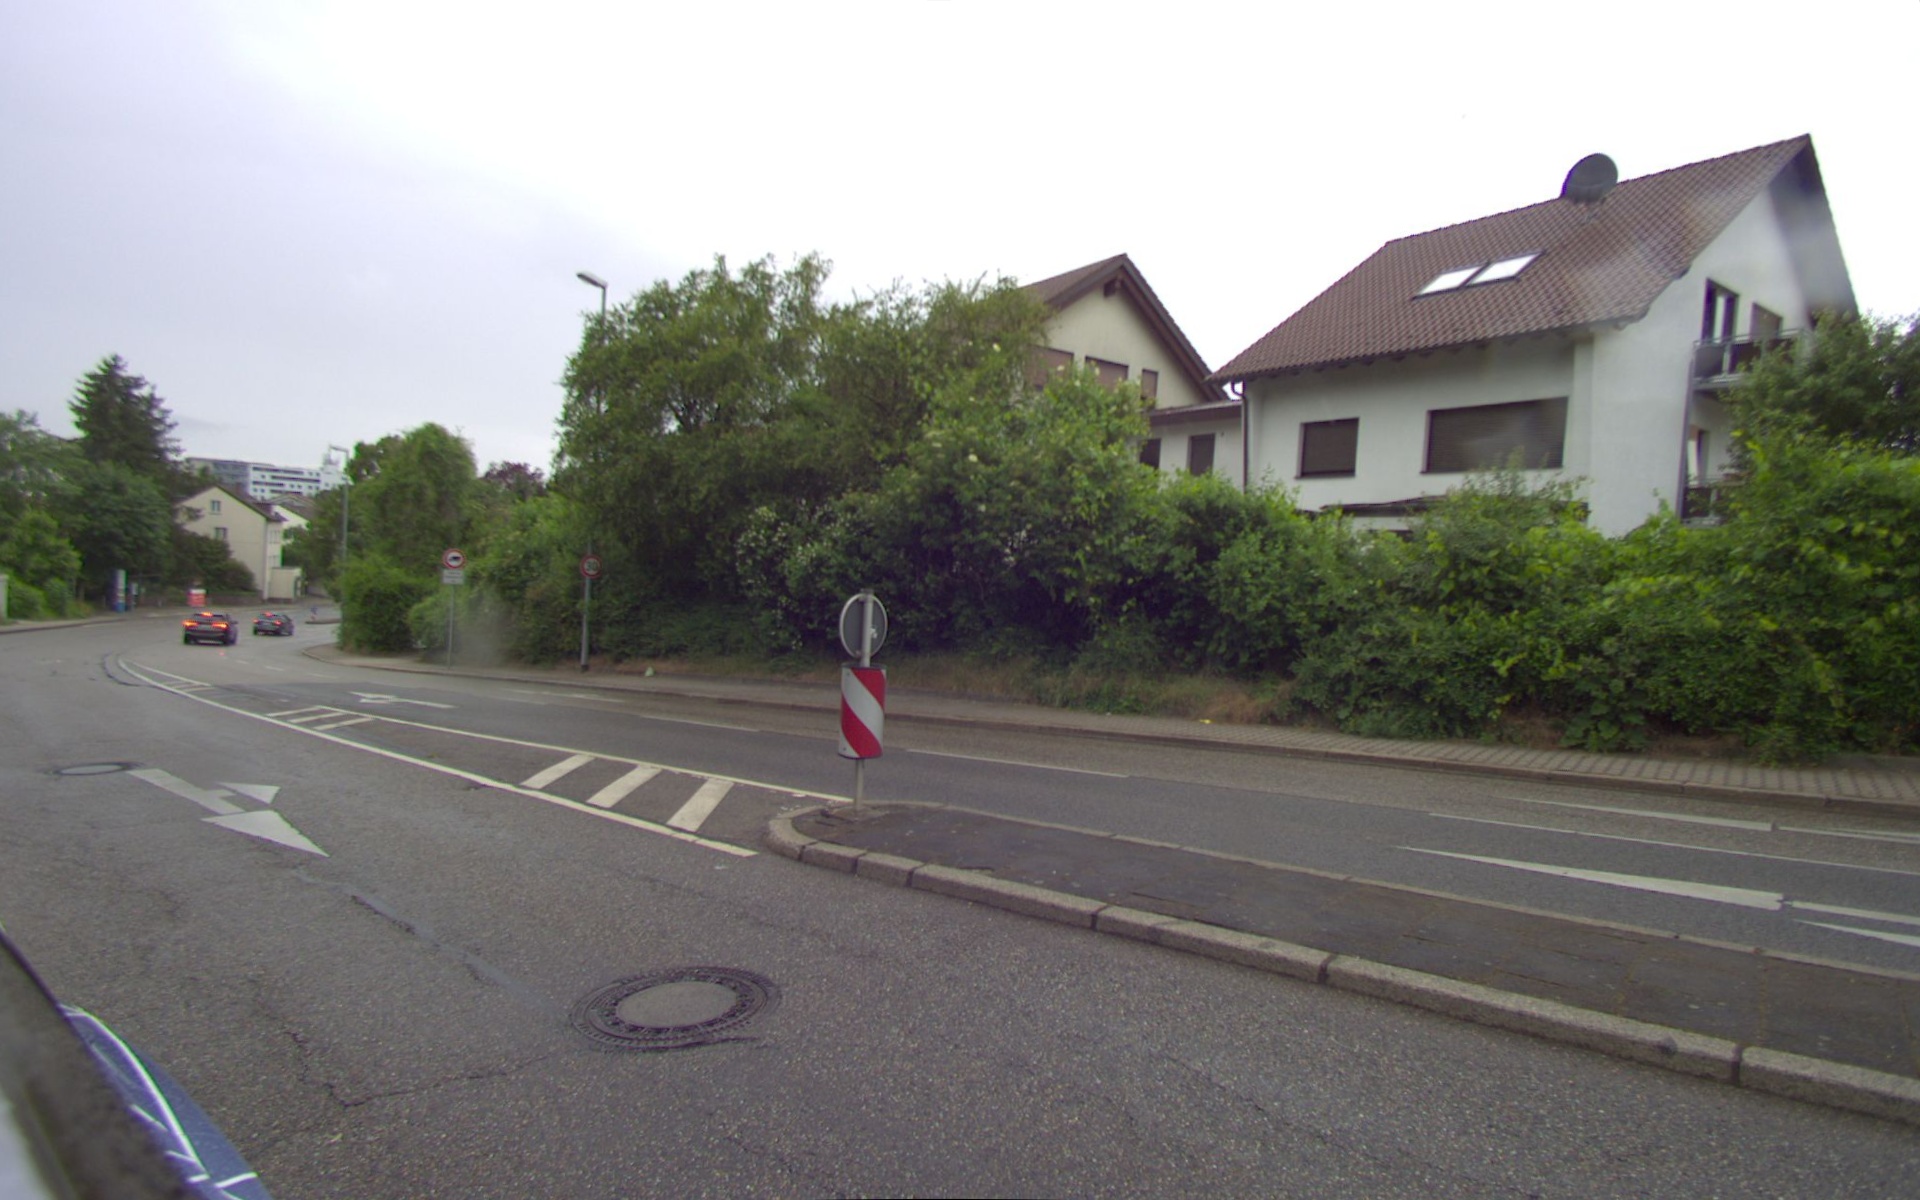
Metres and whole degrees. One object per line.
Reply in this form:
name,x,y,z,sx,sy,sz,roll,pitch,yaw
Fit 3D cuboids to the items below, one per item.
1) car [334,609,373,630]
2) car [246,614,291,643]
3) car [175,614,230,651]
car,-55.573,1.806,92.782,1.966,1.929,4.010,1,-2,-13
car,-49.275,2.024,72.178,2.096,2.029,4.099,2,-2,-27
car,-40.733,1.759,54.497,1.929,1.860,4.011,4,-3,-32
